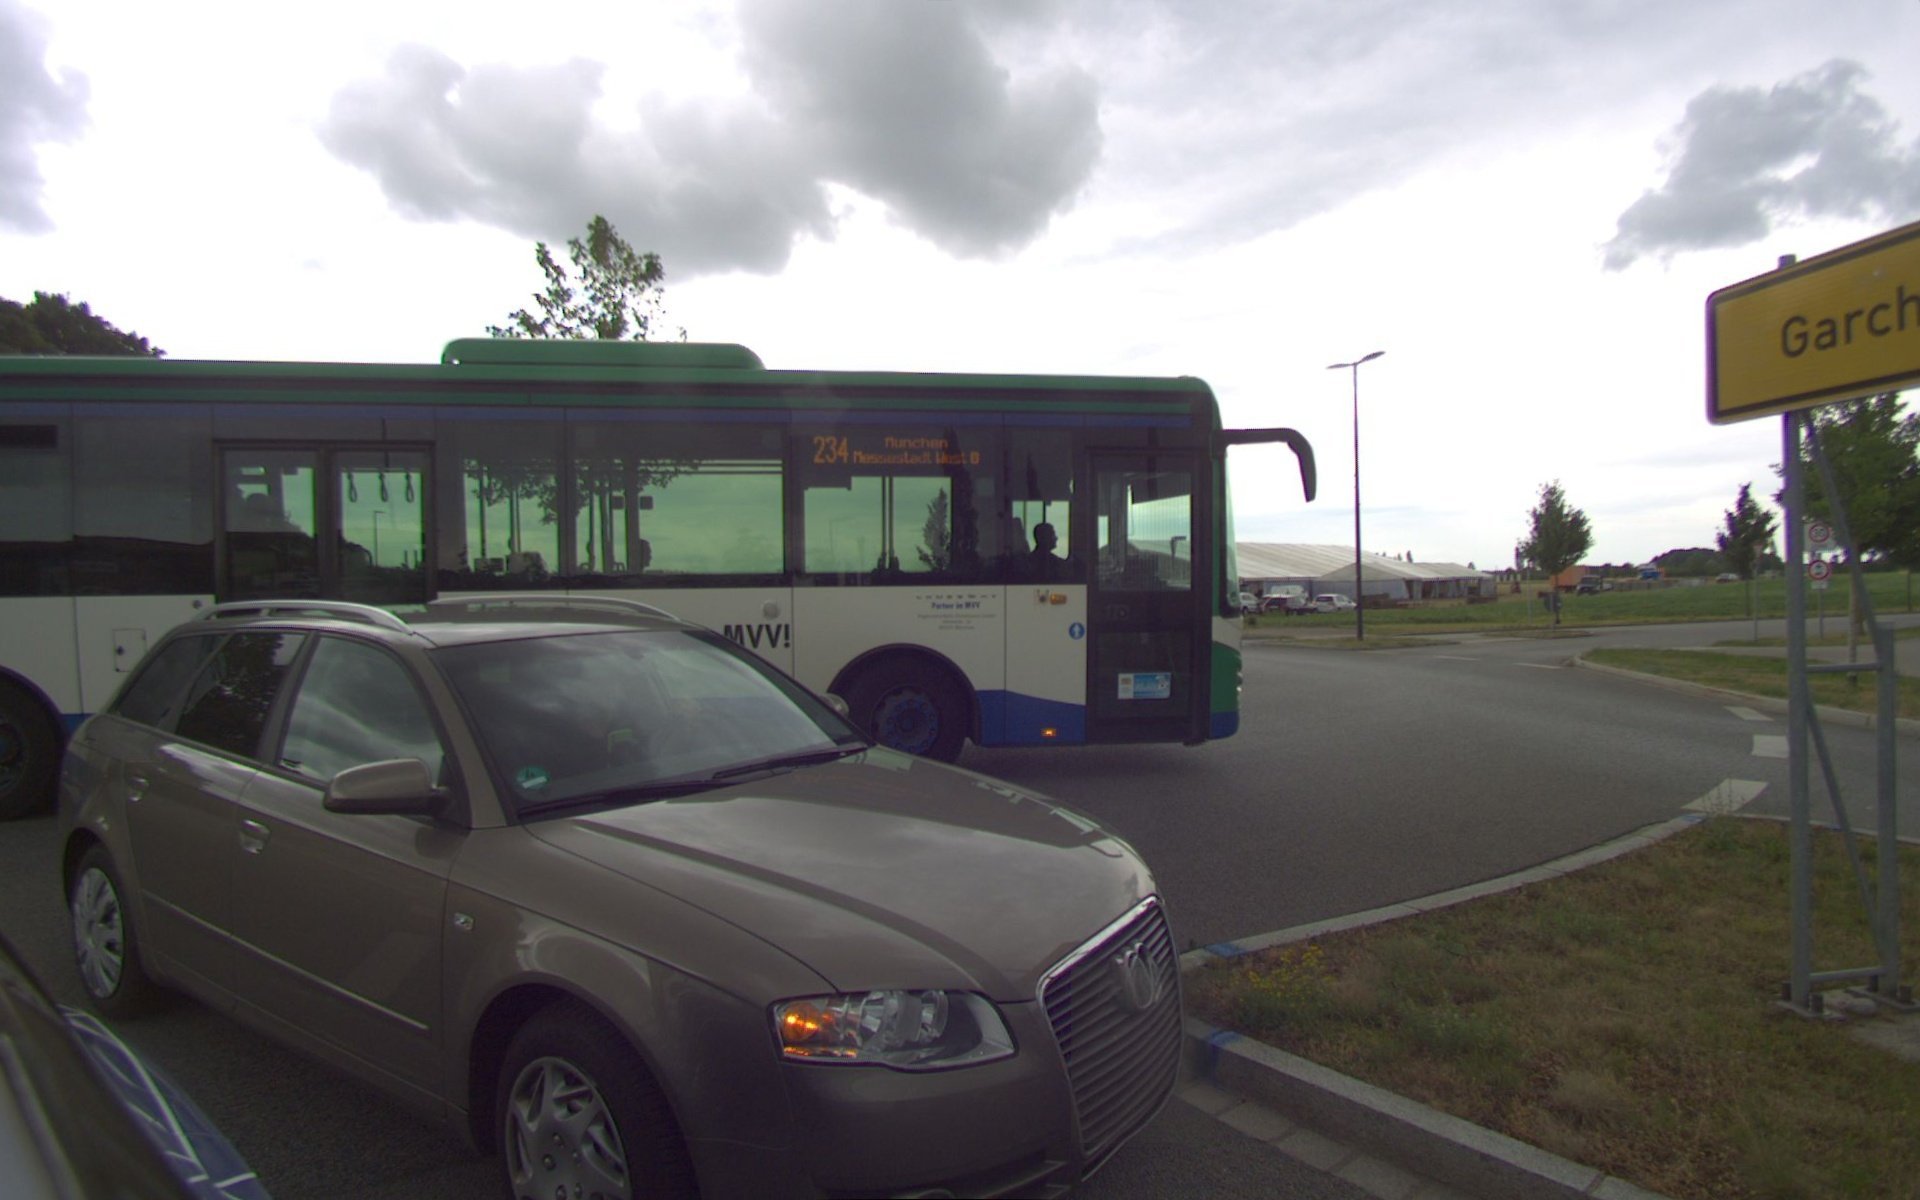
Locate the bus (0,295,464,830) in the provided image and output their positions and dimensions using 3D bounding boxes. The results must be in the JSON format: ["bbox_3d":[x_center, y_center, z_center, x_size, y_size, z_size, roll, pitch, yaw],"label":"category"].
[{"bbox_3d":[-6.876,-0.223,7.356,5.375,3.283,2.529,0,0,-7],"label":"bus"}]

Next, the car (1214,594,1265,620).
[{"bbox_3d":[19.122,0.486,69.095,1.835,1.618,3.777,-1,0,42],"label":"car"}]

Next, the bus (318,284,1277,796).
[{"bbox_3d":[-1.089,-0.388,8.144,6.445,3.283,2.529,0,0,-7],"label":"bus"}]

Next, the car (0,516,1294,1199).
[{"bbox_3d":[-1.425,0.651,3.368,4.526,1.476,1.764,-1,0,32],"label":"car"}]

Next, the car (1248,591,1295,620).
[{"bbox_3d":[18.735,0.318,61.042,1.613,1.618,3.875,-2,0,1],"label":"car"}]

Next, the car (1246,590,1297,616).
[{"bbox_3d":[20.710,0.203,67.268,1.835,1.618,3.777,-1,0,42],"label":"car"}]

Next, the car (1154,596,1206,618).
[{"bbox_3d":[15.616,0.498,71.784,1.951,1.453,3.946,-1,1,41],"label":"car"}]

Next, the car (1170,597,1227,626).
[{"bbox_3d":[14.417,0.682,61.424,1.705,1.618,3.887,-2,0,-15],"label":"car"}]

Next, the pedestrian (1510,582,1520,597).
[{"bbox_3d":[75.573,-1.461,137.885,1.049,2.029,1.049,-1,0,34],"label":"pedestrian"}]

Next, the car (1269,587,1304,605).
[{"bbox_3d":[31.857,-0.371,98.736,1.835,1.618,3.776,-1,1,42],"label":"car"}]

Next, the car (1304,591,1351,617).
[{"bbox_3d":[23.686,0.267,65.172,1.729,1.565,3.950,-1,0,37],"label":"car"}]
